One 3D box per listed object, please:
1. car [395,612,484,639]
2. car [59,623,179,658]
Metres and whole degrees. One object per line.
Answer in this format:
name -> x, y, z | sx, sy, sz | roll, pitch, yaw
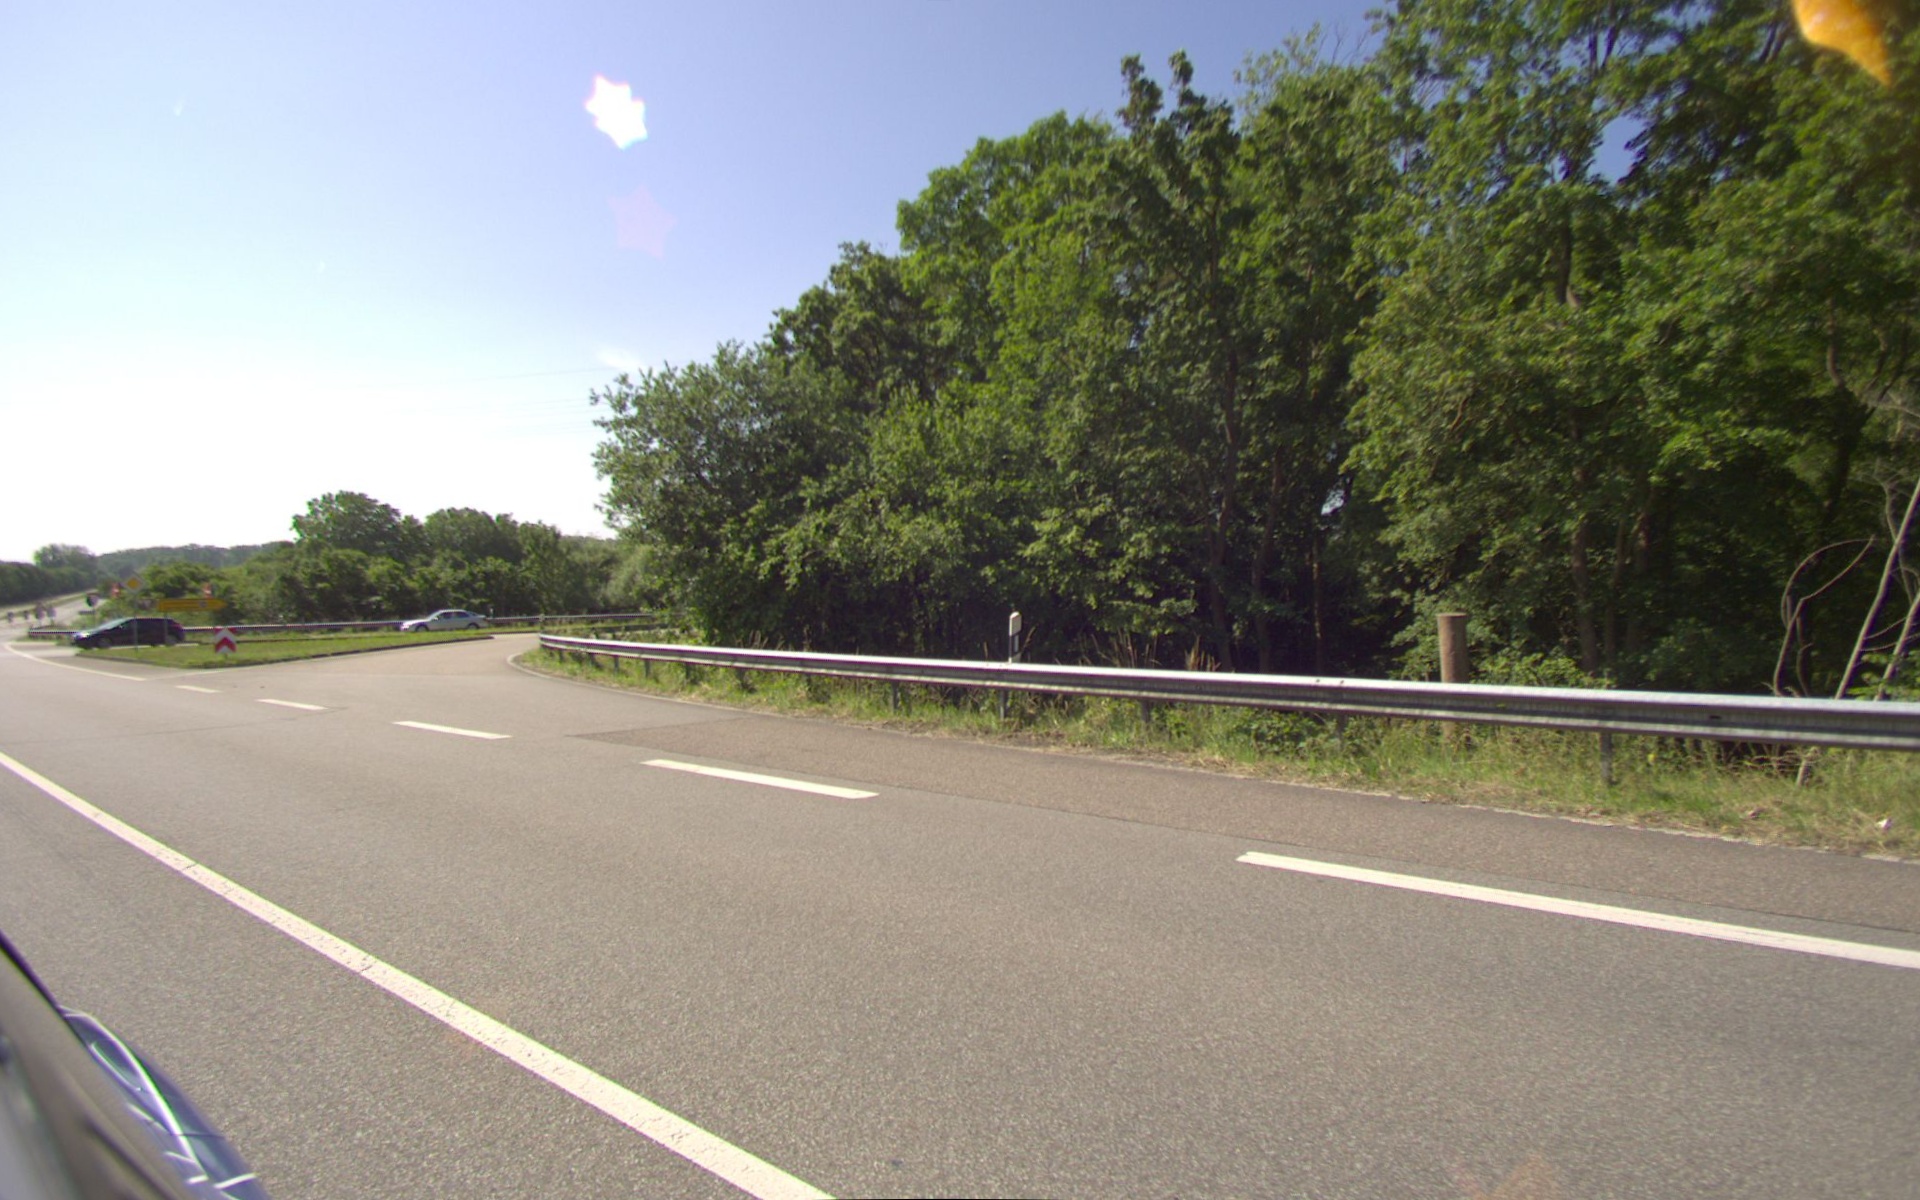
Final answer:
car -> -30.155, 1.483, 58.665 | 4.309, 1.395, 1.792 | -1, 0, -39
car -> -39.345, 1.864, 47.446 | 1.780, 1.425, 3.962 | -2, 0, 28
